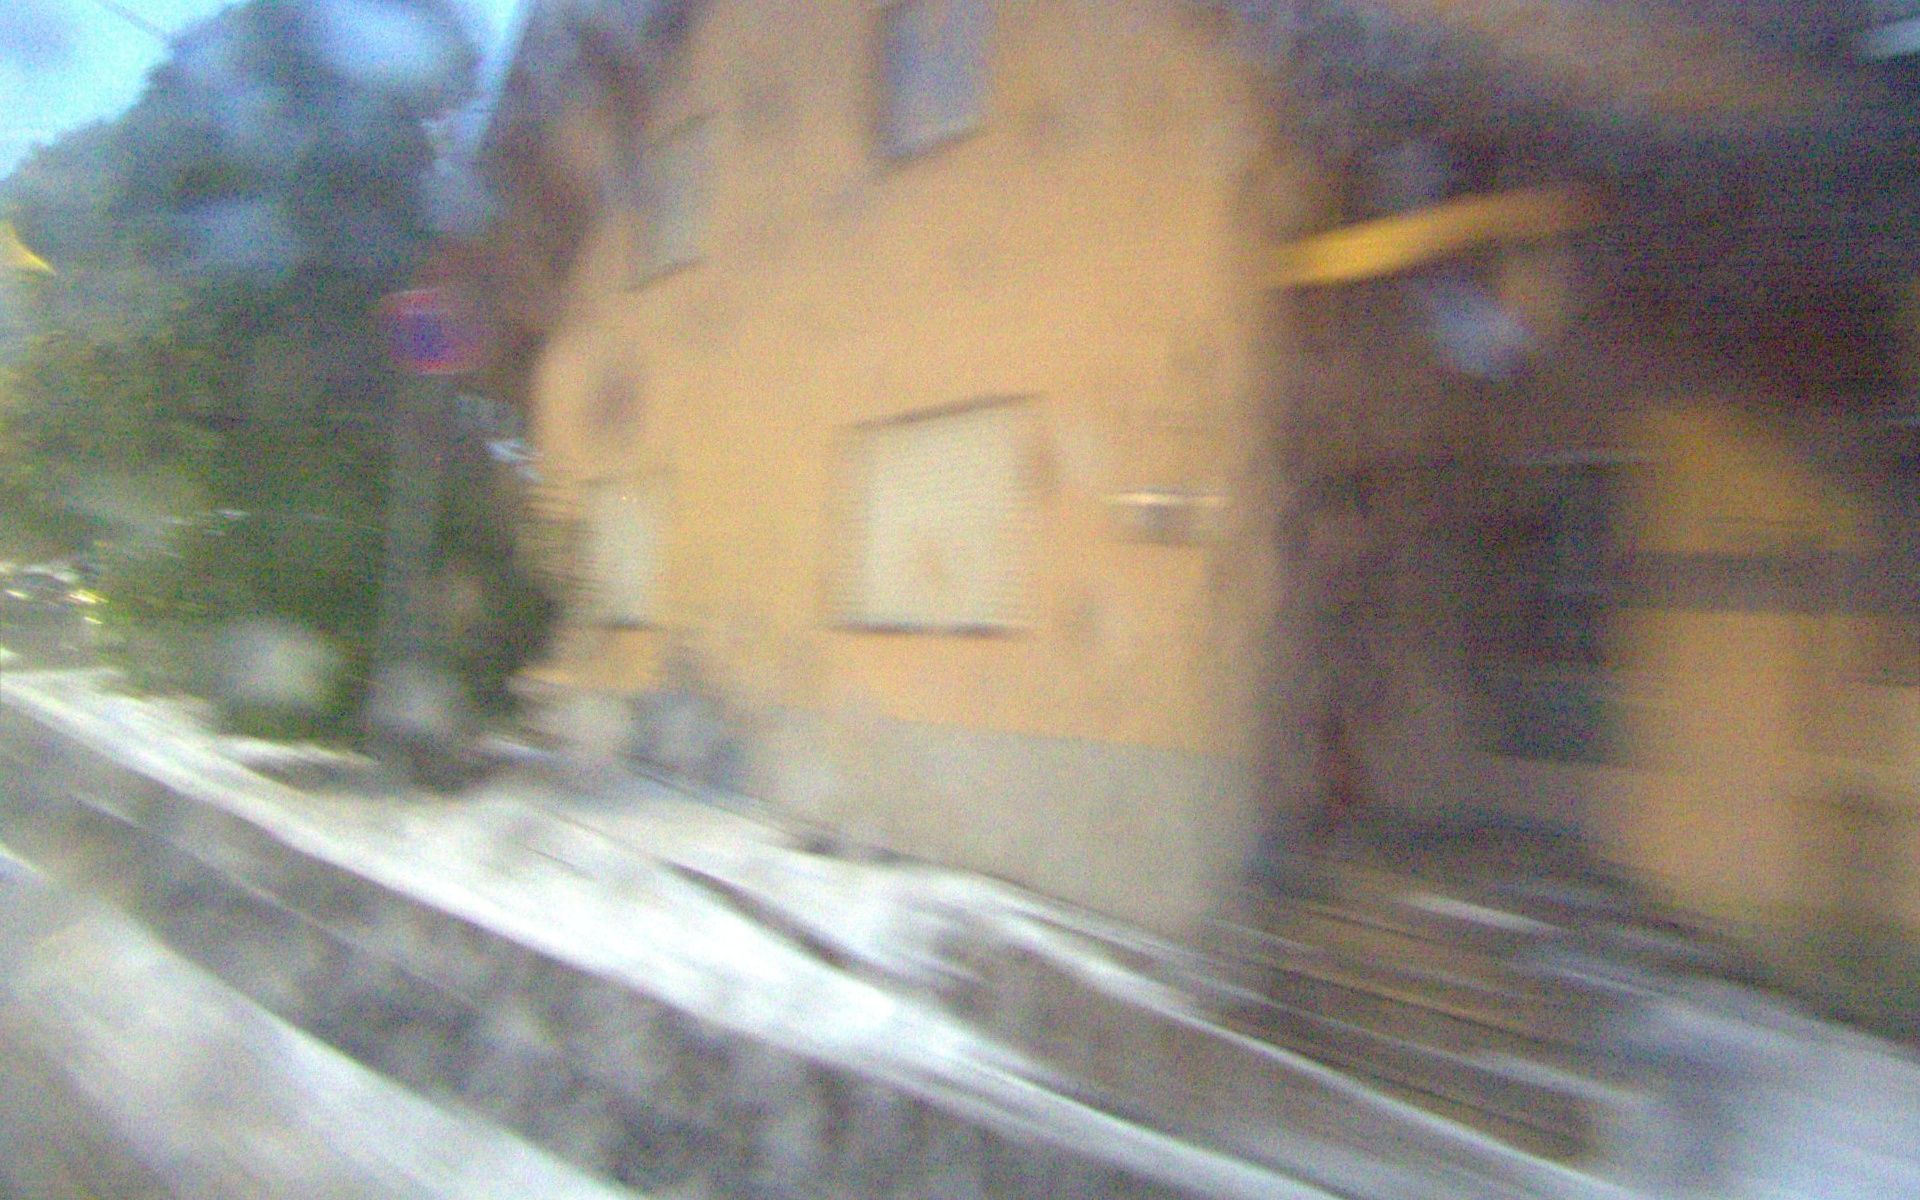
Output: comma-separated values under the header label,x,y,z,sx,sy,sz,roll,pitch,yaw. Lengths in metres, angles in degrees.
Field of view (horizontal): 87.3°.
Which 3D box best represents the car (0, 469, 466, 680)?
label,x,y,z,sx,sy,sz,roll,pitch,yaw
car,-7.571,-0.140,10.505,1.811,1.710,3.999,6,-1,23
